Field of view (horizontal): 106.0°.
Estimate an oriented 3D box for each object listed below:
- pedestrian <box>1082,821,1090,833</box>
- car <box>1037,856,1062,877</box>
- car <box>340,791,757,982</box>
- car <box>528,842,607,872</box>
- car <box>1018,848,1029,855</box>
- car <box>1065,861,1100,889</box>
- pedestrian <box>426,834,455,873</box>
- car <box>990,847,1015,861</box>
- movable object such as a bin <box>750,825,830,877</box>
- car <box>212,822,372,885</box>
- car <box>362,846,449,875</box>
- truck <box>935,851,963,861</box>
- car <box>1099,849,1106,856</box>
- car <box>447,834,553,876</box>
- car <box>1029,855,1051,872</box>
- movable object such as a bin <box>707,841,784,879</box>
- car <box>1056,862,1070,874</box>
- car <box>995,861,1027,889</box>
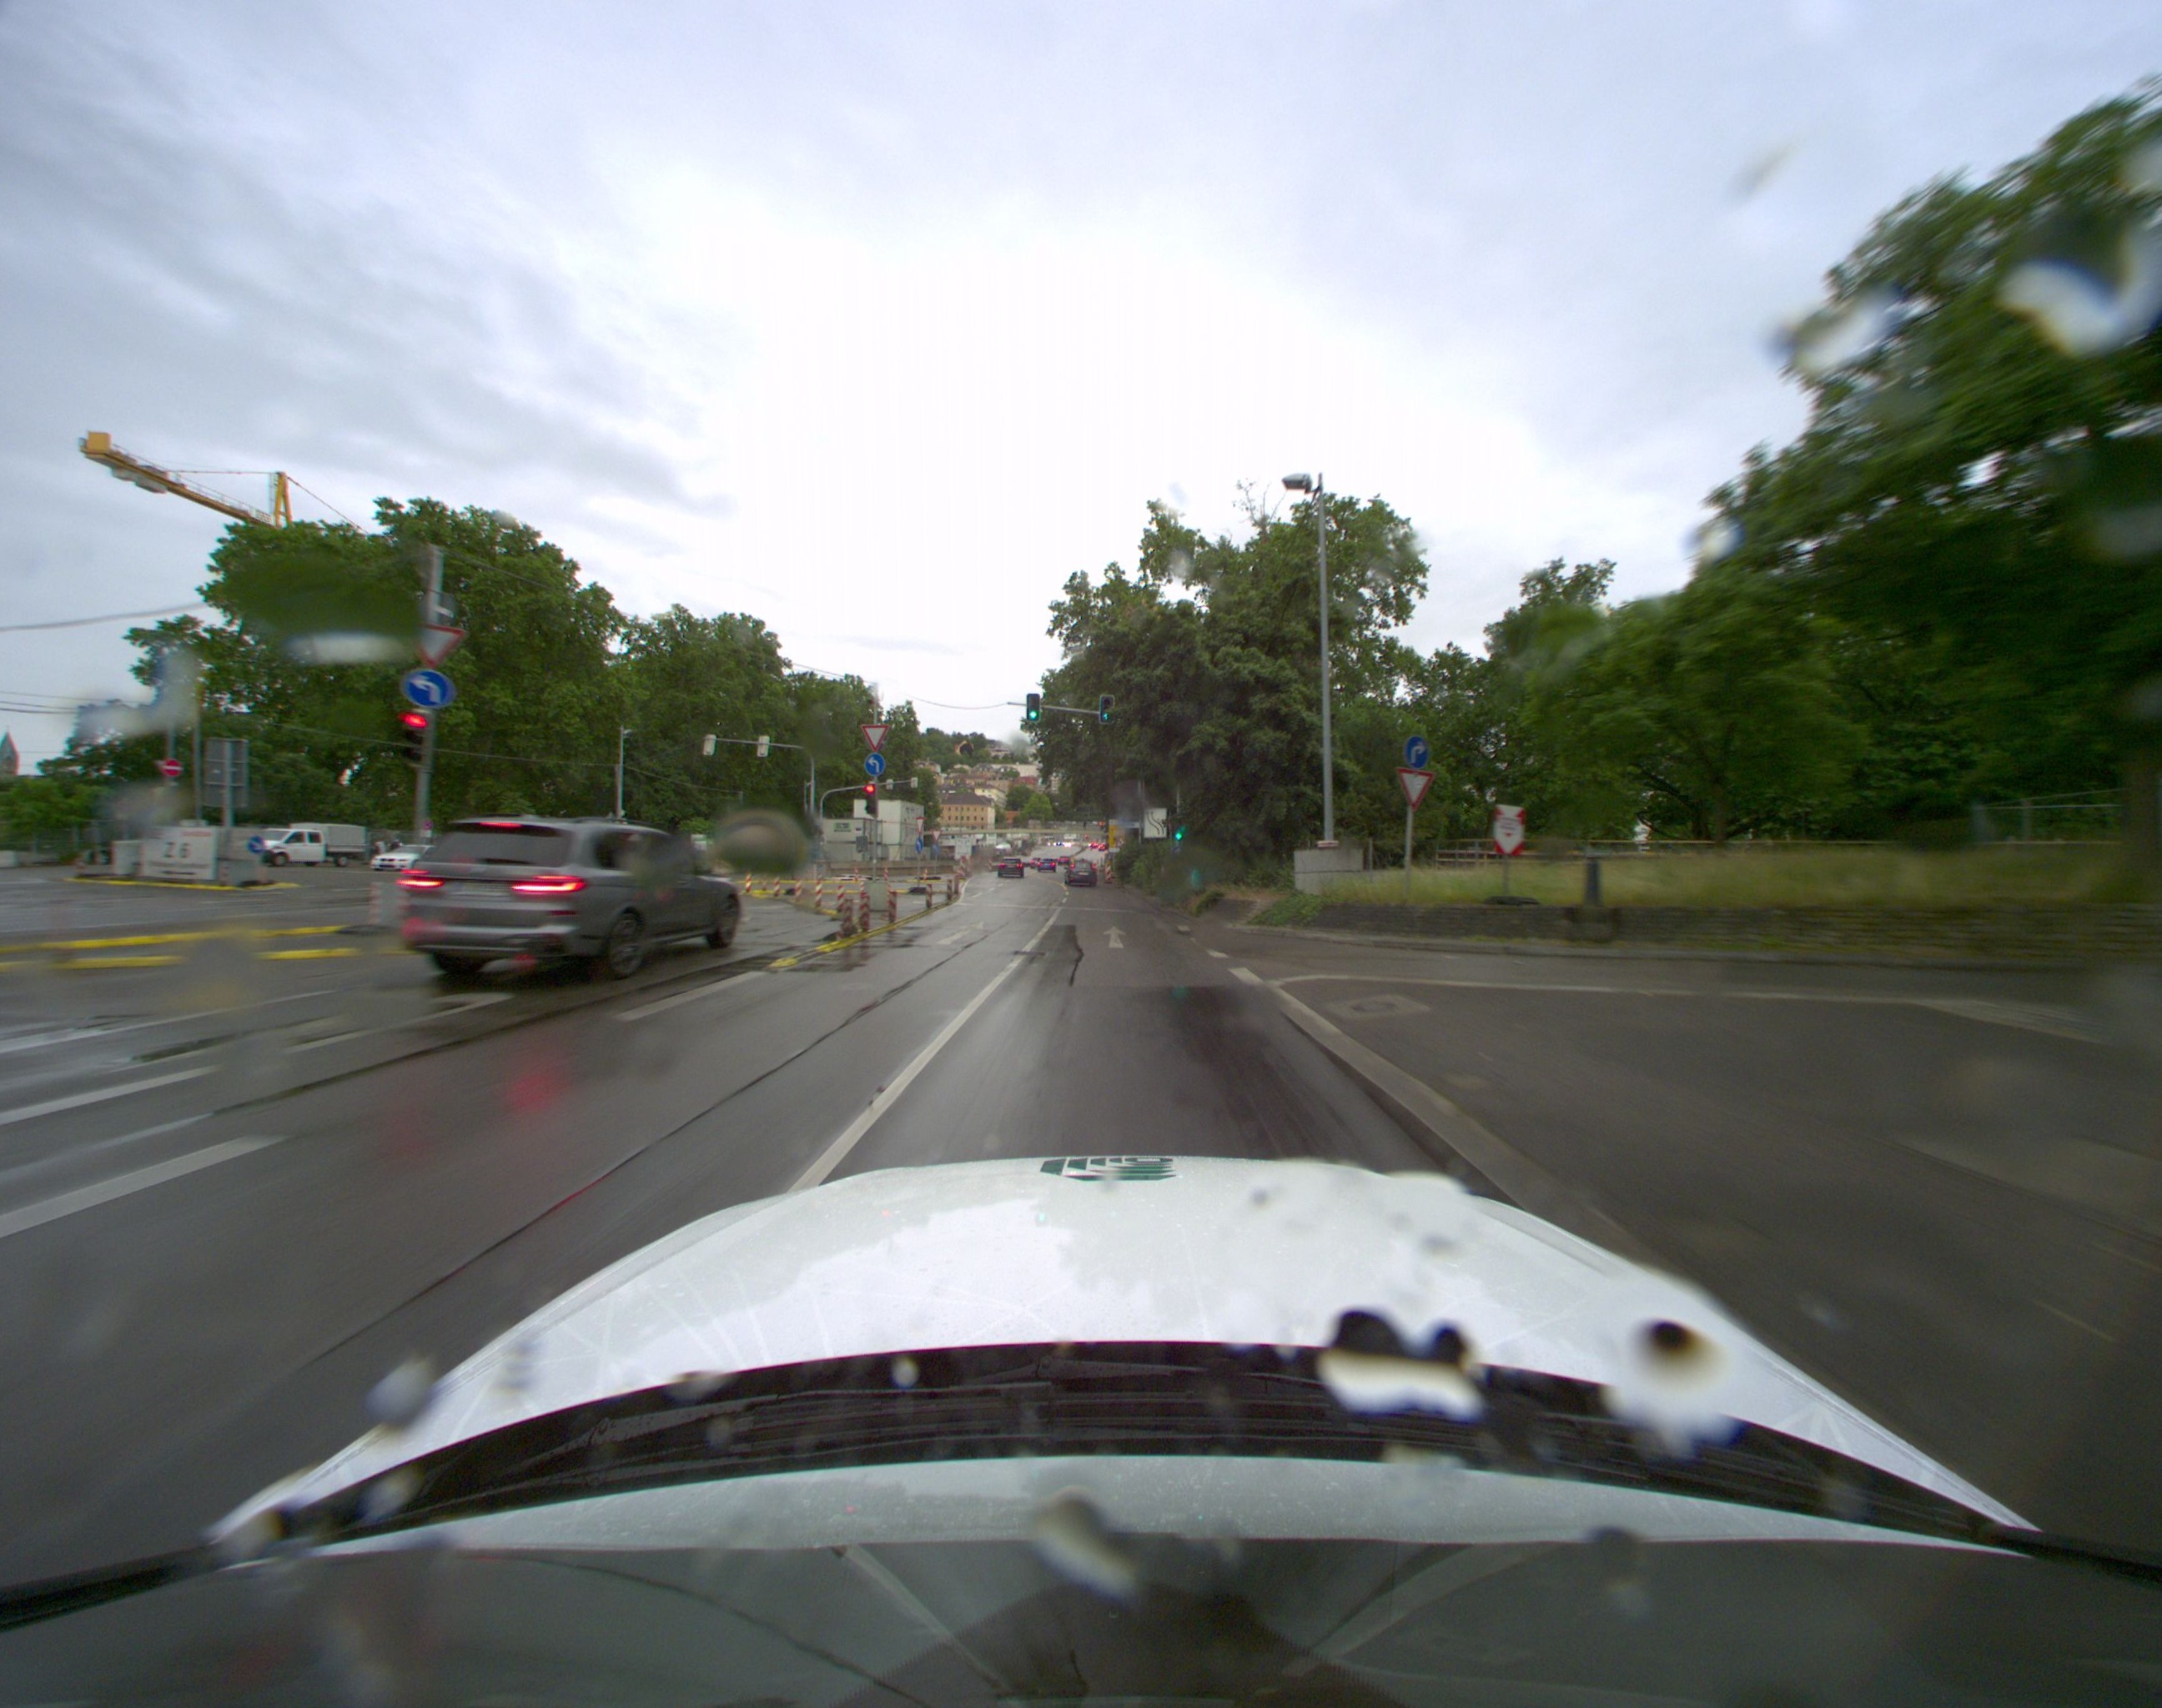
[{"bbox_3d":[0.906,-4.584,137.494,1.140,2.060,1.062,0,-1,11],"label":"pedestrian"},{"bbox_3d":[-3.171,1.263,82.967,2.096,2.050,4.003,0,-1,3],"label":"car"},{"bbox_3d":[-6.314,0.354,10.672,2.204,1.863,5.069,1,-1,-2],"label":"car"},{"bbox_3d":[-32.082,0.206,51.043,1.838,1.761,4.798,0,-1,1],"label":"car"},{"bbox_3d":[-14.413,-0.546,205.003,1.983,1.621,4.009,1,2,7],"label":"car"},{"bbox_3d":[0.061,1.177,47.122,1.808,1.527,3.995,0,0,-3],"label":"car"},{"bbox_3d":[-33.296,-0.008,42.342,0.918,2.014,0.737,0,0,-5],"label":"pedestrian"},{"bbox_3d":[-16.708,-0.026,173.605,1.974,2.875,6.089,-1,-1,30],"label":"car"},{"bbox_3d":[-28.460,-0.248,80.289,4.732,4.803,8.361,0,-1,1],"label":"movable object such as a bin"},{"bbox_3d":[-40.799,0.003,42.413,2.266,3.066,6.168,0,-1,0],"label":"car"},{"bbox_3d":[-34.552,0.325,41.784,1.758,1.415,3.820,0,-1,-10],"label":"car"},{"bbox_3d":[-25.694,0.396,158.649,5.232,2.013,2.162,0,0,-2],"label":"truck"},{"bbox_3d":[5.917,-0.512,226.480,1.986,1.869,4.001,0,-1,2],"label":"car"},{"bbox_3d":[-31.996,0.070,45.112,1.988,2.101,5.577,-2,-1,-2],"label":"car"},{"bbox_3d":[-4.948,1.166,98.834,1.984,2.013,4.006,0,0,5],"label":"car"},{"bbox_3d":[-29.236,0.534,71.261,3.918,3.128,6.389,0,-1,1],"label":"movable object such as a bin"},{"bbox_3d":[-2.856,2.261,132.707,2.043,2.014,4.002,0,-1,2],"label":"car"},{"bbox_3d":[-5.182,1.516,59.958,2.017,2.014,3.985,0,-1,-11],"label":"car"}]
